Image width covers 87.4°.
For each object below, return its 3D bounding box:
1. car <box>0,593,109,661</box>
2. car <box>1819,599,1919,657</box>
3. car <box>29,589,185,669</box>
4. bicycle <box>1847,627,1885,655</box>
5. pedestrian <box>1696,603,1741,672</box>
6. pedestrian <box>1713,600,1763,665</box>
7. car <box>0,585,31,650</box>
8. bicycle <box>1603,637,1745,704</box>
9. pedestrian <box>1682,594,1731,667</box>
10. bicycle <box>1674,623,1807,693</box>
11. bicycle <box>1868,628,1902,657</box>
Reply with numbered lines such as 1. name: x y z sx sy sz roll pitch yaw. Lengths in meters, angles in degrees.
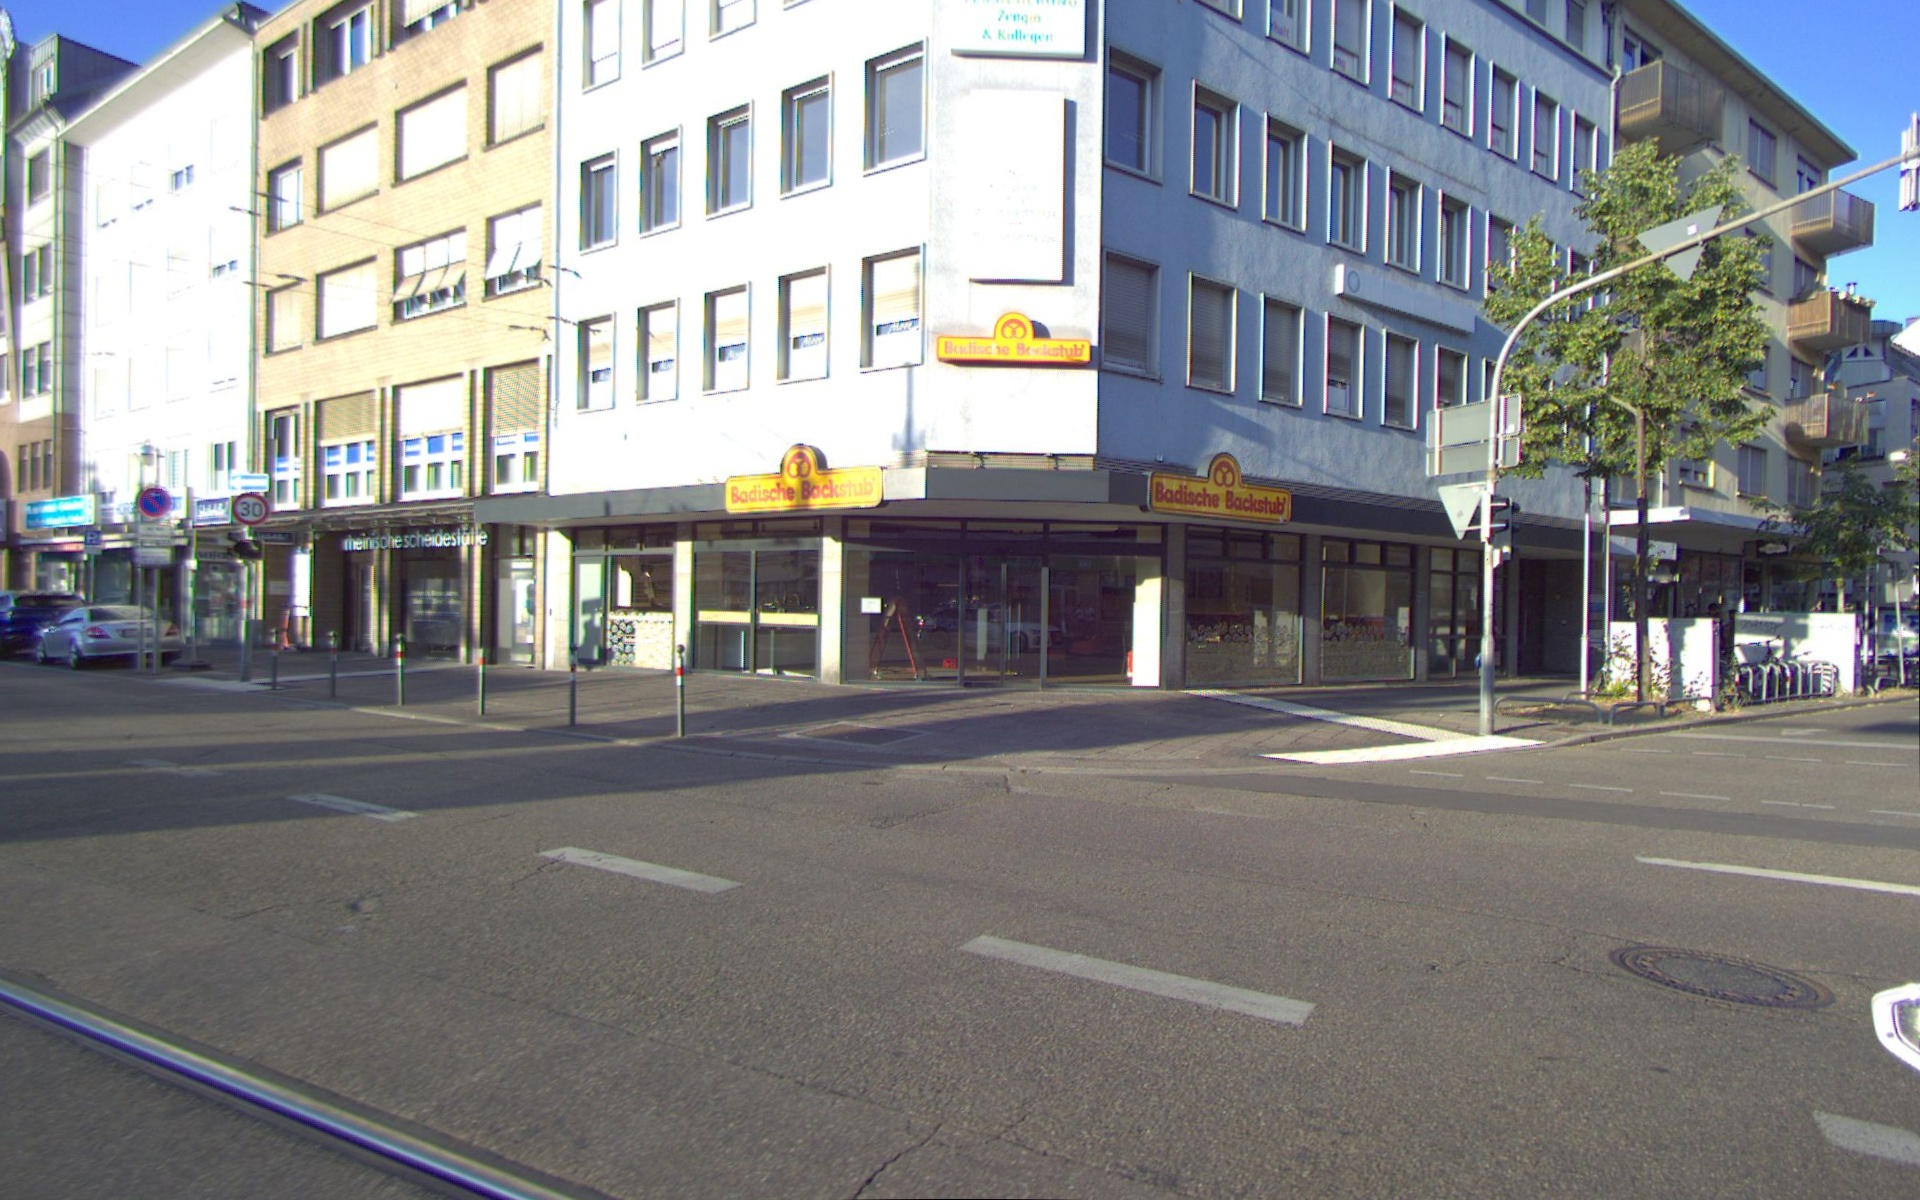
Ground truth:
1. car: -22.784 0.592 24.566 4.535 1.496 2.041 1 1 37
2. car: 32.413 0.994 34.080 4.805 1.852 1.991 3 1 39
3. car: -18.869 0.572 22.165 4.233 1.596 1.793 1 1 38
4. bicycle: 33.218 1.509 36.818 1.994 1.005 0.487 2 1 -33
5. pedestrian: 20.844 1.018 27.602 0.804 1.843 0.737 0 0 -31
6. pedestrian: 20.668 0.852 26.710 0.728 1.698 0.770 1 0 9
7. car: -28.069 0.443 28.239 4.534 1.760 2.042 1 1 36
8. bicycle: 12.674 1.226 17.895 0.487 1.005 1.994 2 1 -37
9. pedestrian: 19.473 0.773 26.218 0.732 1.872 0.766 0 1 -24
10. bicycle: 15.474 1.126 19.976 0.486 1.235 1.997 2 1 -33
11. bicycle: 33.464 1.525 36.325 1.996 1.005 0.486 2 1 -36
